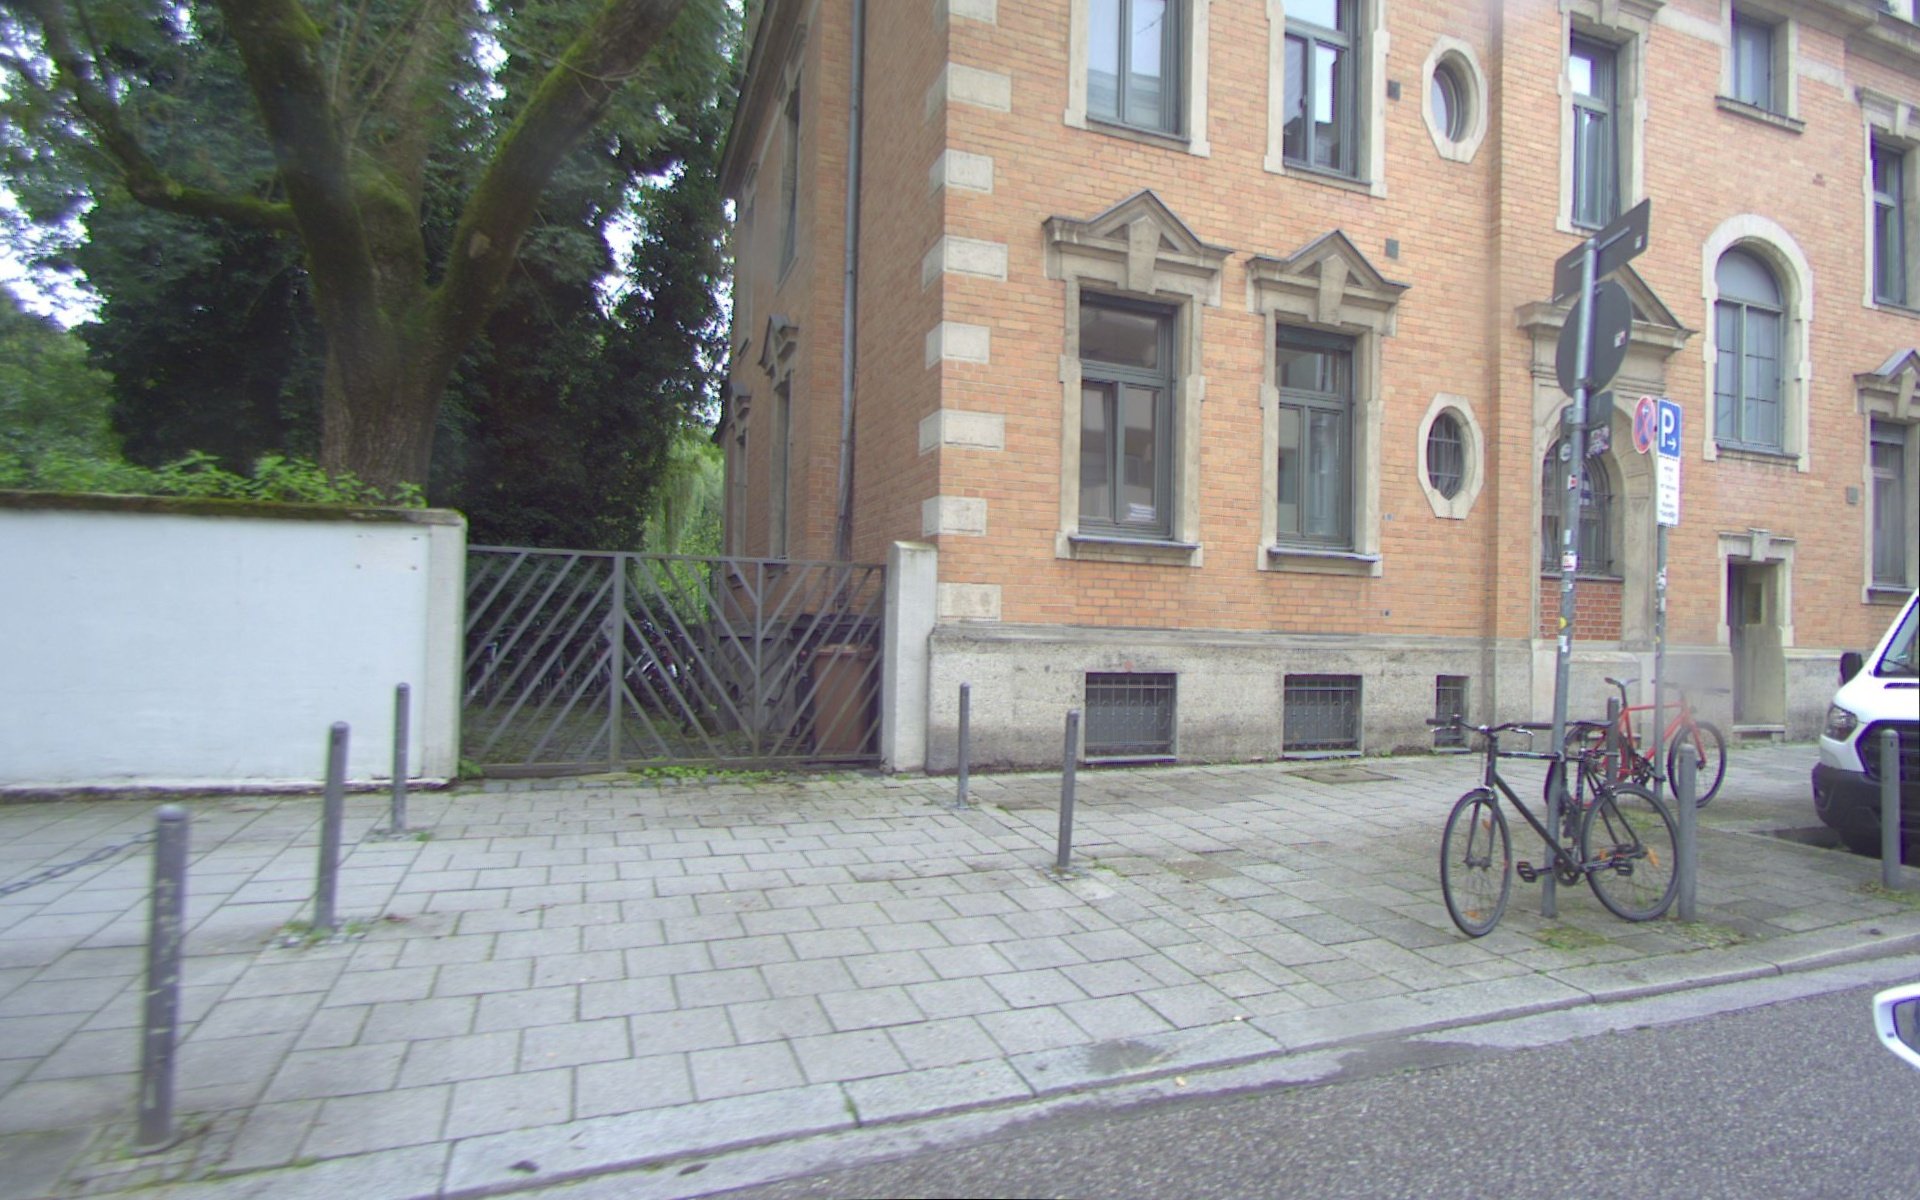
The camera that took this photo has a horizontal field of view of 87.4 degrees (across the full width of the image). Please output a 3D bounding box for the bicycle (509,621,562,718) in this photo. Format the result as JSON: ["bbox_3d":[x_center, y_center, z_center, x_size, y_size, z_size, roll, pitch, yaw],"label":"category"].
[{"bbox_3d":[-5.744,0.893,13.536,0.529,1.201,2.287,2,-2,-25],"label":"bicycle"}]

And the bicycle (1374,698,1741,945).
[{"bbox_3d":[3.006,1.052,5.054,1.734,1.068,0.579,2,-2,-17],"label":"bicycle"}]

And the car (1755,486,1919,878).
[{"bbox_3d":[8.664,0.613,7.332,5.390,2.500,1.990,2,-4,-21],"label":"car"}]

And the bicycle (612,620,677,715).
[{"bbox_3d":[-4.473,0.906,14.156,0.529,1.196,2.287,2,-1,-25],"label":"bicycle"}]

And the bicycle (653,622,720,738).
[{"bbox_3d":[-3.232,0.893,11.766,0.528,1.235,2.073,2,-2,-21],"label":"bicycle"}]

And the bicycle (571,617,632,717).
[{"bbox_3d":[-4.989,0.891,13.905,0.529,1.268,2.287,2,-2,-25],"label":"bicycle"}]

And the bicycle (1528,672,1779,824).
[{"bbox_3d":[5.427,1.125,7.857,1.864,1.068,0.579,2,-1,-17],"label":"bicycle"}]

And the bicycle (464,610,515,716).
[{"bbox_3d":[-6.290,0.808,13.422,0.529,1.300,2.287,2,-2,-25],"label":"bicycle"}]
